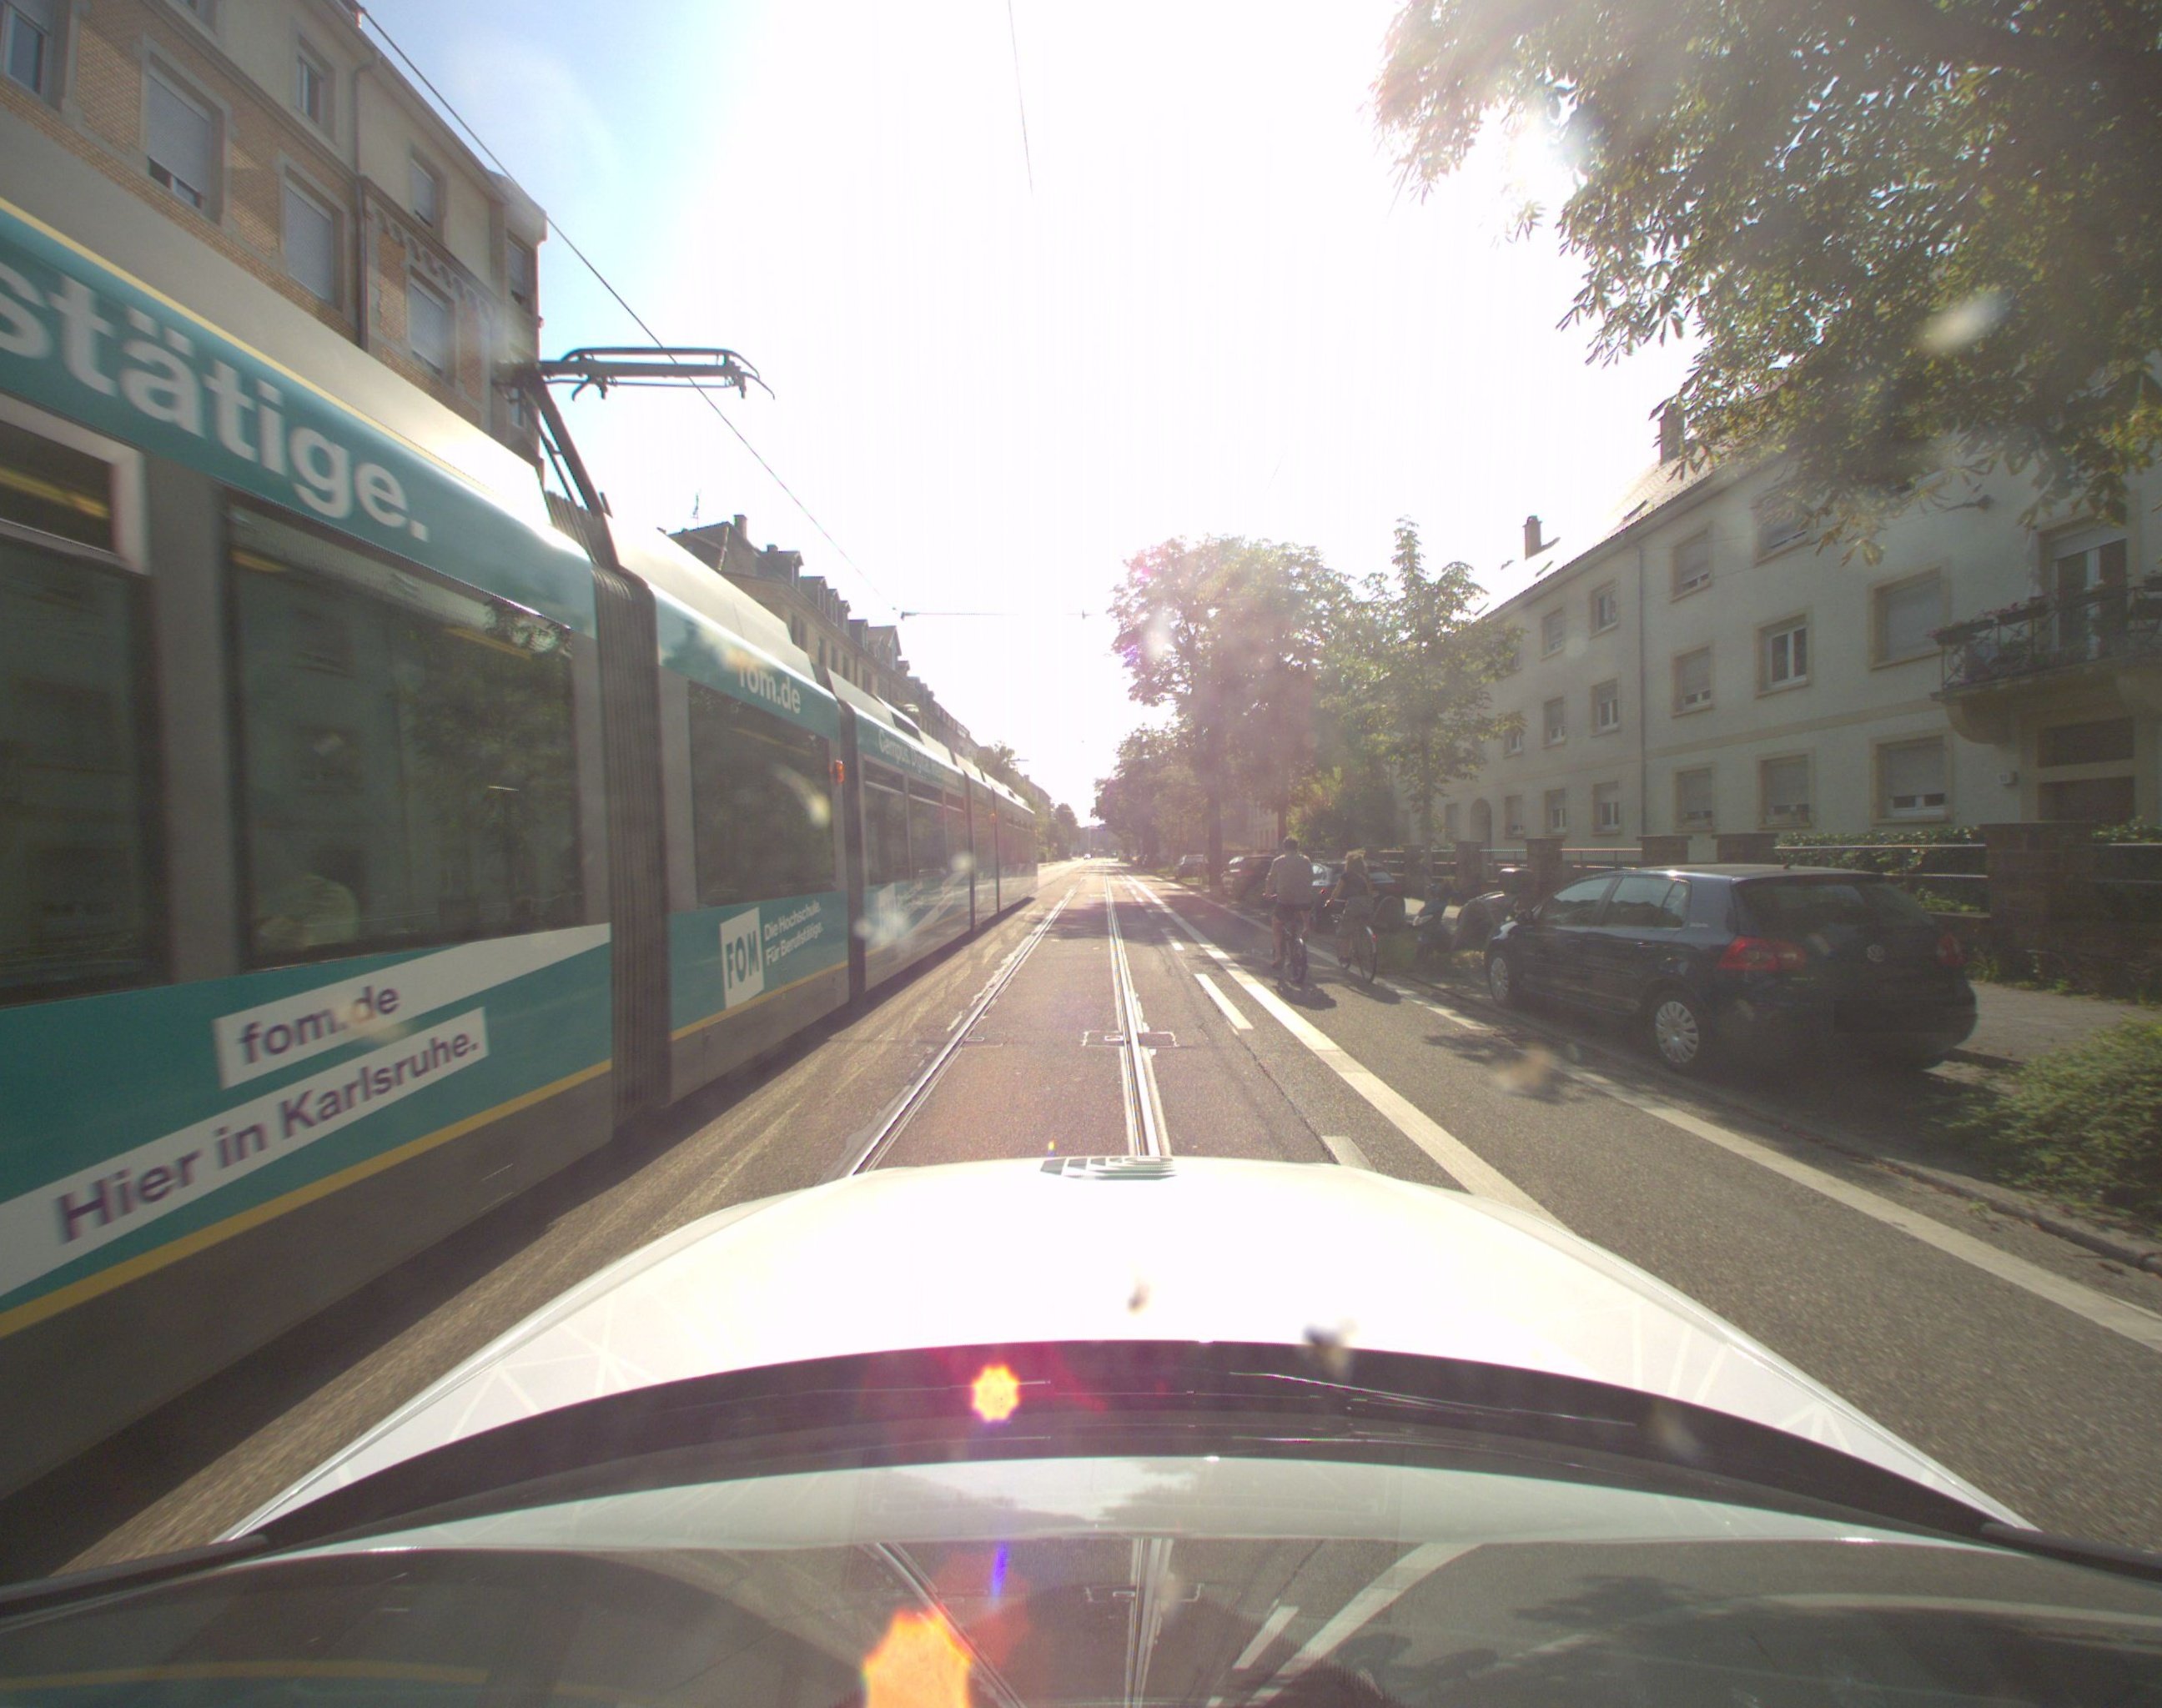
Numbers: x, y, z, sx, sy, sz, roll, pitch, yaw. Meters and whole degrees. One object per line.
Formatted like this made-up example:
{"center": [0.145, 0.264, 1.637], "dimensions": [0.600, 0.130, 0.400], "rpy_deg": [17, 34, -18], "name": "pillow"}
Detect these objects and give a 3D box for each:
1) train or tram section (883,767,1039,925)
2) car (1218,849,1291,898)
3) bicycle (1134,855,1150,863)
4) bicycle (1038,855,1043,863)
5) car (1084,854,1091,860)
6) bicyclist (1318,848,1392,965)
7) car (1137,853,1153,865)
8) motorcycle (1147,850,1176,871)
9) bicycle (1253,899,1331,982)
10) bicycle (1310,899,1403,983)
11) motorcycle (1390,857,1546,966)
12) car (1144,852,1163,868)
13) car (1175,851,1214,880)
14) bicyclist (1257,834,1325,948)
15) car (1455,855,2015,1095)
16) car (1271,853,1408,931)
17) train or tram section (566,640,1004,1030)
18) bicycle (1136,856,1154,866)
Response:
{"center": [-2.942, -0.197, 23.510], "dimensions": [2.725, 3.505, 10.777], "rpy_deg": [0, 0, 1], "name": "train or tram section"}
{"center": [5.971, 0.632, 28.427], "dimensions": [1.683, 1.502, 4.096], "rpy_deg": [-3, 0, 1], "name": "car"}
{"center": [8.462, 0.702, 113.146], "dimensions": [2.100, 1.105, 0.616], "rpy_deg": [-2, 0, 0], "name": "bicycle"}
{"center": [-6.711, 0.800, 133.993], "dimensions": [0.559, 1.221, 2.115], "rpy_deg": [-1, 0, 3], "name": "bicycle"}
{"center": [1.810, 0.775, 225.177], "dimensions": [1.720, 1.638, 3.986], "rpy_deg": [-1, 0, 1], "name": "car"}
{"center": [3.615, 0.671, 10.796], "dimensions": [0.652, 1.474, 0.909], "rpy_deg": [1, 0, 0], "name": "bicyclist"}
{"center": [8.065, 0.613, 102.670], "dimensions": [1.765, 1.473, 3.975], "rpy_deg": [-1, -1, 2], "name": "car"}
{"center": [6.876, 0.558, 69.820], "dimensions": [0.919, 1.674, 2.390], "rpy_deg": [-3, 0, -44], "name": "motorcycle"}
{"center": [2.699, 1.083, 10.565], "dimensions": [0.624, 0.909, 1.525], "rpy_deg": [1, 0, 1], "name": "bicycle"}
{"center": [3.607, 1.105, 10.809], "dimensions": [0.652, 0.909, 1.775], "rpy_deg": [1, 0, 1], "name": "bicycle"}
{"center": [5.425, 0.791, 11.481], "dimensions": [1.849, 1.289, 0.705], "rpy_deg": [-4, 5, -2], "name": "motorcycle"}
{"center": [7.574, 0.619, 85.645], "dimensions": [1.720, 1.504, 3.985], "rpy_deg": [-2, 0, 1], "name": "car"}
{"center": [6.493, 0.655, 47.129], "dimensions": [1.737, 1.561, 4.721], "rpy_deg": [-1, 0, 2], "name": "car"}
{"center": [2.709, 0.464, 10.578], "dimensions": [0.624, 1.401, 0.929], "rpy_deg": [1, 0, 1], "name": "bicyclist"}
{"center": [5.092, 0.768, 7.259], "dimensions": [1.639, 1.448, 4.247], "rpy_deg": [-2, 0, 2], "name": "car"}
{"center": [5.586, 0.745, 18.173], "dimensions": [1.684, 1.434, 4.337], "rpy_deg": [-3, 0, 1], "name": "car"}
{"center": [-3.173, -0.188, 12.720], "dimensions": [2.725, 3.505, 10.777], "rpy_deg": [0, 0, 1], "name": "train or tram section"}
{"center": [7.721, 0.844, 98.985], "dimensions": [2.104, 1.105, 0.562], "rpy_deg": [-1, 0, -6], "name": "bicycle"}
